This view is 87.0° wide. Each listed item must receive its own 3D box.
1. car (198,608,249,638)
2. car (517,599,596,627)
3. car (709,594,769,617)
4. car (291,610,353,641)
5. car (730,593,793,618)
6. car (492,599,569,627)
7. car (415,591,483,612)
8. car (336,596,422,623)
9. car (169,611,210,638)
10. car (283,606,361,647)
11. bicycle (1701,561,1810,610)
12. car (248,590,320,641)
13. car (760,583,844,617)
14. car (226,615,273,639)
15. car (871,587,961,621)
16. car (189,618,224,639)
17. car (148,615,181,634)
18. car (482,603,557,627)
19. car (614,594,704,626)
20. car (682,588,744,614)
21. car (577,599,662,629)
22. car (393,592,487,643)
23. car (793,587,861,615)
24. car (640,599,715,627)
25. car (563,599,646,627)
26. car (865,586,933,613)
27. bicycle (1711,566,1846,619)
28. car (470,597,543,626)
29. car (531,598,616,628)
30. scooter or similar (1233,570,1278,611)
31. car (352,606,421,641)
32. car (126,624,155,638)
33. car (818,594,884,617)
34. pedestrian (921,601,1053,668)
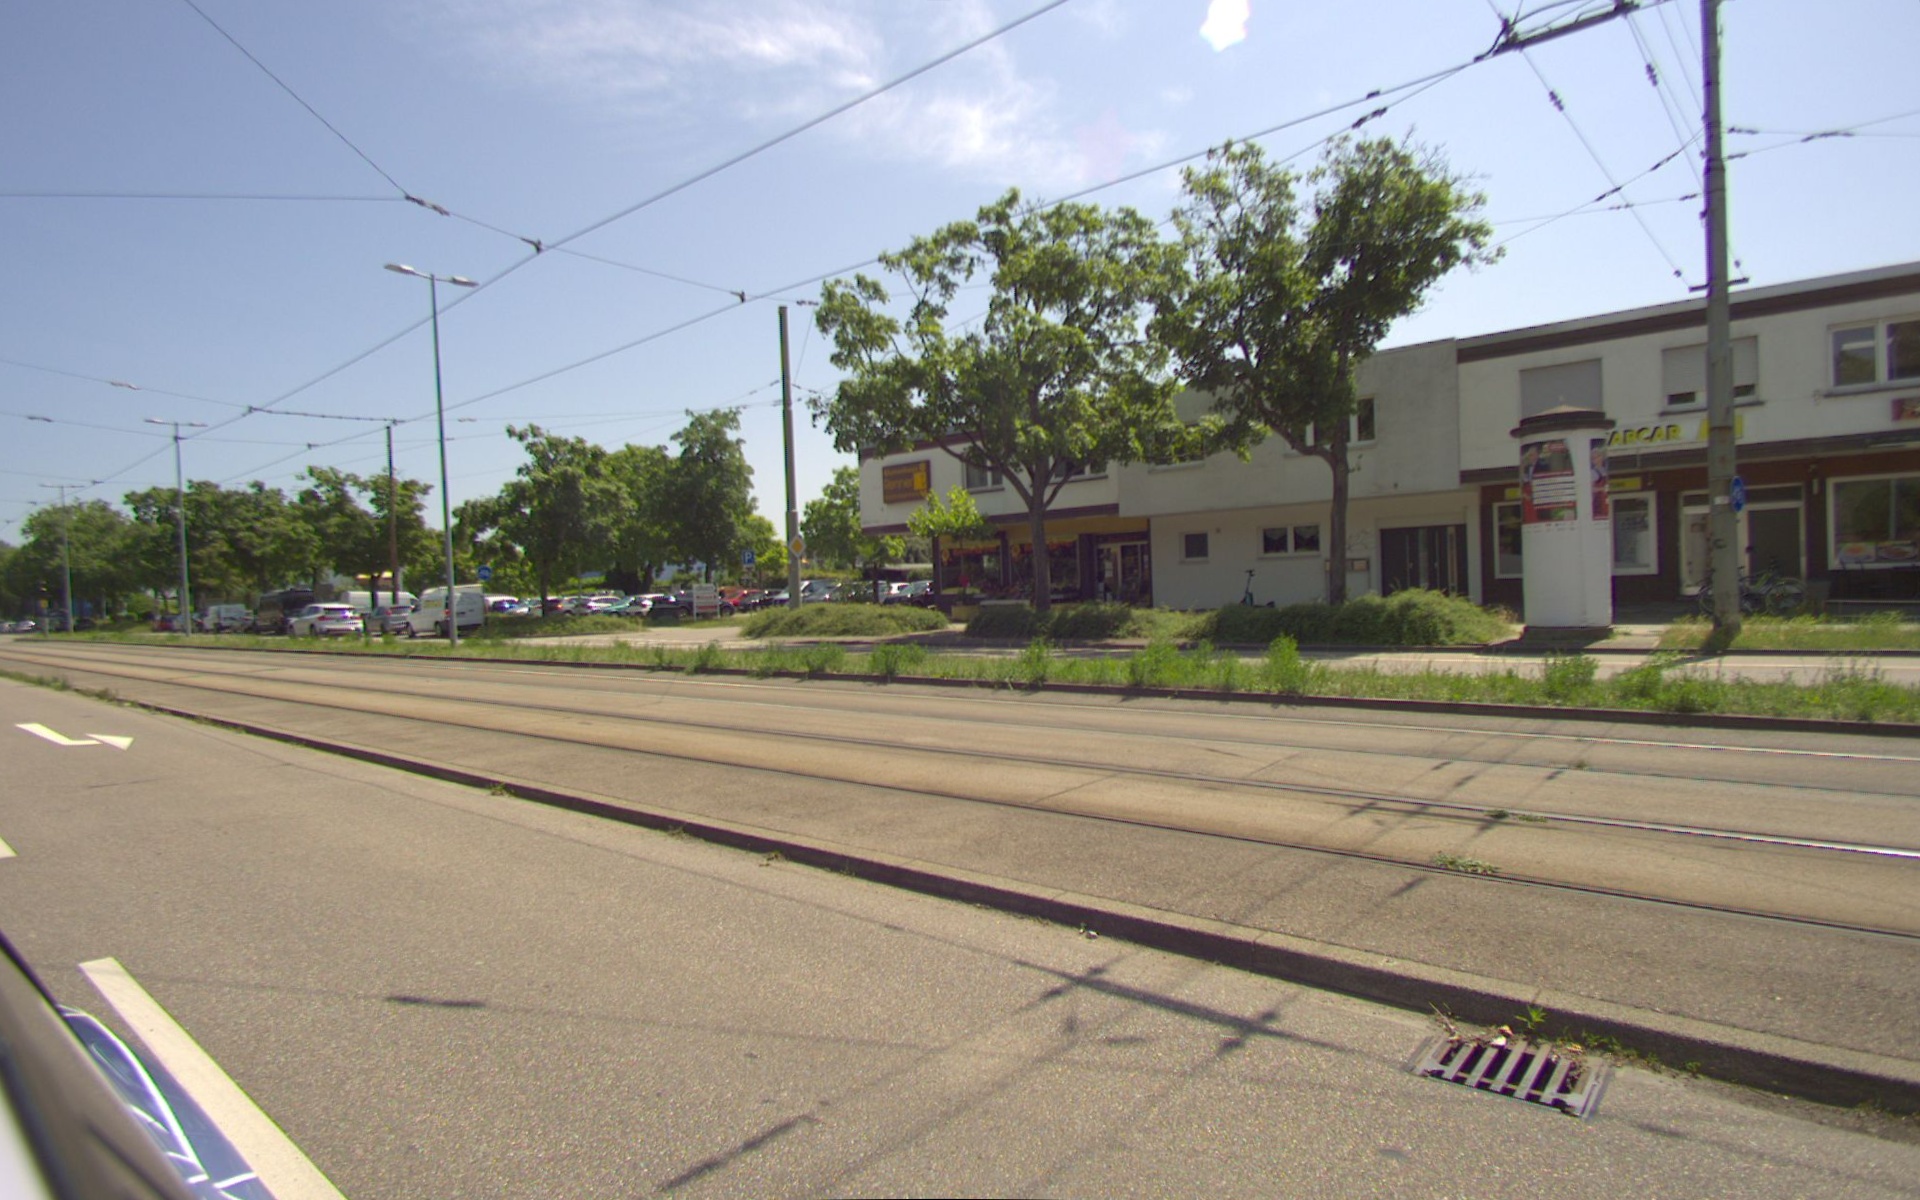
[{"bbox_3d":[-50.698,1.543,69.660,4.816,1.963,1.899,-1,0,43],"label":"car"},{"bbox_3d":[-23.911,0.755,60.055,1.827,1.501,4.030,-2,1,34],"label":"car"},{"bbox_3d":[-15.287,0.353,70.075,1.712,1.505,3.953,-1,0,35],"label":"car"},{"bbox_3d":[-35.497,1.400,56.264,3.751,1.589,1.950,-1,0,42],"label":"car"},{"bbox_3d":[-13.277,0.367,67.832,1.683,1.597,3.948,-1,0,39],"label":"car"},{"bbox_3d":[-26.022,0.792,61.417,1.862,1.499,3.955,-2,1,34],"label":"car"},{"bbox_3d":[-51.052,0.140,101.226,2.145,2.078,5.674,-1,0,38],"label":"car"},{"bbox_3d":[-44.473,0.688,77.611,2.029,1.970,5.363,-1,0,43],"label":"car"},{"bbox_3d":[-58.280,1.832,76.531,4.495,1.907,1.614,-1,0,41],"label":"car"},{"bbox_3d":[-27.466,1.110,43.505,4.569,1.622,1.705,-1,0,43],"label":"car"},{"bbox_3d":[16.576,-0.284,21.123,1.758,0.986,0.533,-1,0,41],"label":"bicycle"},{"bbox_3d":[-40.369,0.898,60.374,5.666,2.859,2.214,-1,0,42],"label":"car"},{"bbox_3d":[-9.977,-0.043,64.388,2.225,2.085,5.055,-1,0,41],"label":"car"},{"bbox_3d":[-46.249,1.710,65.856,3.608,1.475,1.744,-1,0,42],"label":"car"},{"bbox_3d":[-1.931,0.151,45.333,1.682,1.306,3.944,-3,0,43],"label":"car"},{"bbox_3d":[-54.689,2.052,73.433,3.261,1.489,1.411,-1,0,41],"label":"car"},{"bbox_3d":[-63.379,1.943,80.614,3.423,1.491,1.561,-1,0,43],"label":"car"},{"bbox_3d":[-27.697,0.924,63.710,1.794,1.417,3.950,-2,-1,37],"label":"car"},{"bbox_3d":[-15.869,0.533,53.499,1.983,1.501,4.120,-2,1,39],"label":"car"},{"bbox_3d":[-17.334,0.067,71.195,1.689,1.665,4.082,-2,0,35],"label":"car"},{"bbox_3d":[-18.361,0.722,54.696,1.908,1.501,3.995,-1,0,34],"label":"car"},{"bbox_3d":[-23.544,0.789,45.713,5.342,2.025,1.856,-1,4,42],"label":"car"},{"bbox_3d":[-8.199,0.060,62.737,1.804,1.669,3.943,-1,0,43],"label":"car"},{"bbox_3d":[-14.300,0.639,51.371,1.639,1.241,3.385,-2,1,34],"label":"car"},{"bbox_3d":[-19.890,0.710,56.695,1.855,1.501,4.099,-1,0,34],"label":"car"},{"bbox_3d":[-3.579,-0.066,59.597,1.661,1.531,3.943,-1,0,43],"label":"car"},{"bbox_3d":[15.994,-0.136,19.822,2.028,0.986,0.604,-1,0,41],"label":"bicycle"},{"bbox_3d":[-29.426,0.740,65.788,1.794,1.730,3.951,-2,1,37],"label":"car"},{"bbox_3d":[-22.041,0.725,57.883,2.018,1.501,4.117,-2,1,34],"label":"car"},{"bbox_3d":[8.720,-0.272,29.885,0.448,1.200,1.349,-1,0,-29],"label":"scooter or similar"},{"bbox_3d":[-28.236,1.152,49.810,4.124,1.513,1.633,-1,4,42],"label":"car"},{"bbox_3d":[-72.059,2.718,88.976,3.423,1.167,1.561,-1,0,43],"label":"car"},{"bbox_3d":[-6.475,0.299,60.582,1.764,1.294,3.675,-1,0,43],"label":"car"},{"bbox_3d":[0.861,1.087,33.312,3.997,2.029,1.973,-1,0,41],"label":"pedestrian"}]
